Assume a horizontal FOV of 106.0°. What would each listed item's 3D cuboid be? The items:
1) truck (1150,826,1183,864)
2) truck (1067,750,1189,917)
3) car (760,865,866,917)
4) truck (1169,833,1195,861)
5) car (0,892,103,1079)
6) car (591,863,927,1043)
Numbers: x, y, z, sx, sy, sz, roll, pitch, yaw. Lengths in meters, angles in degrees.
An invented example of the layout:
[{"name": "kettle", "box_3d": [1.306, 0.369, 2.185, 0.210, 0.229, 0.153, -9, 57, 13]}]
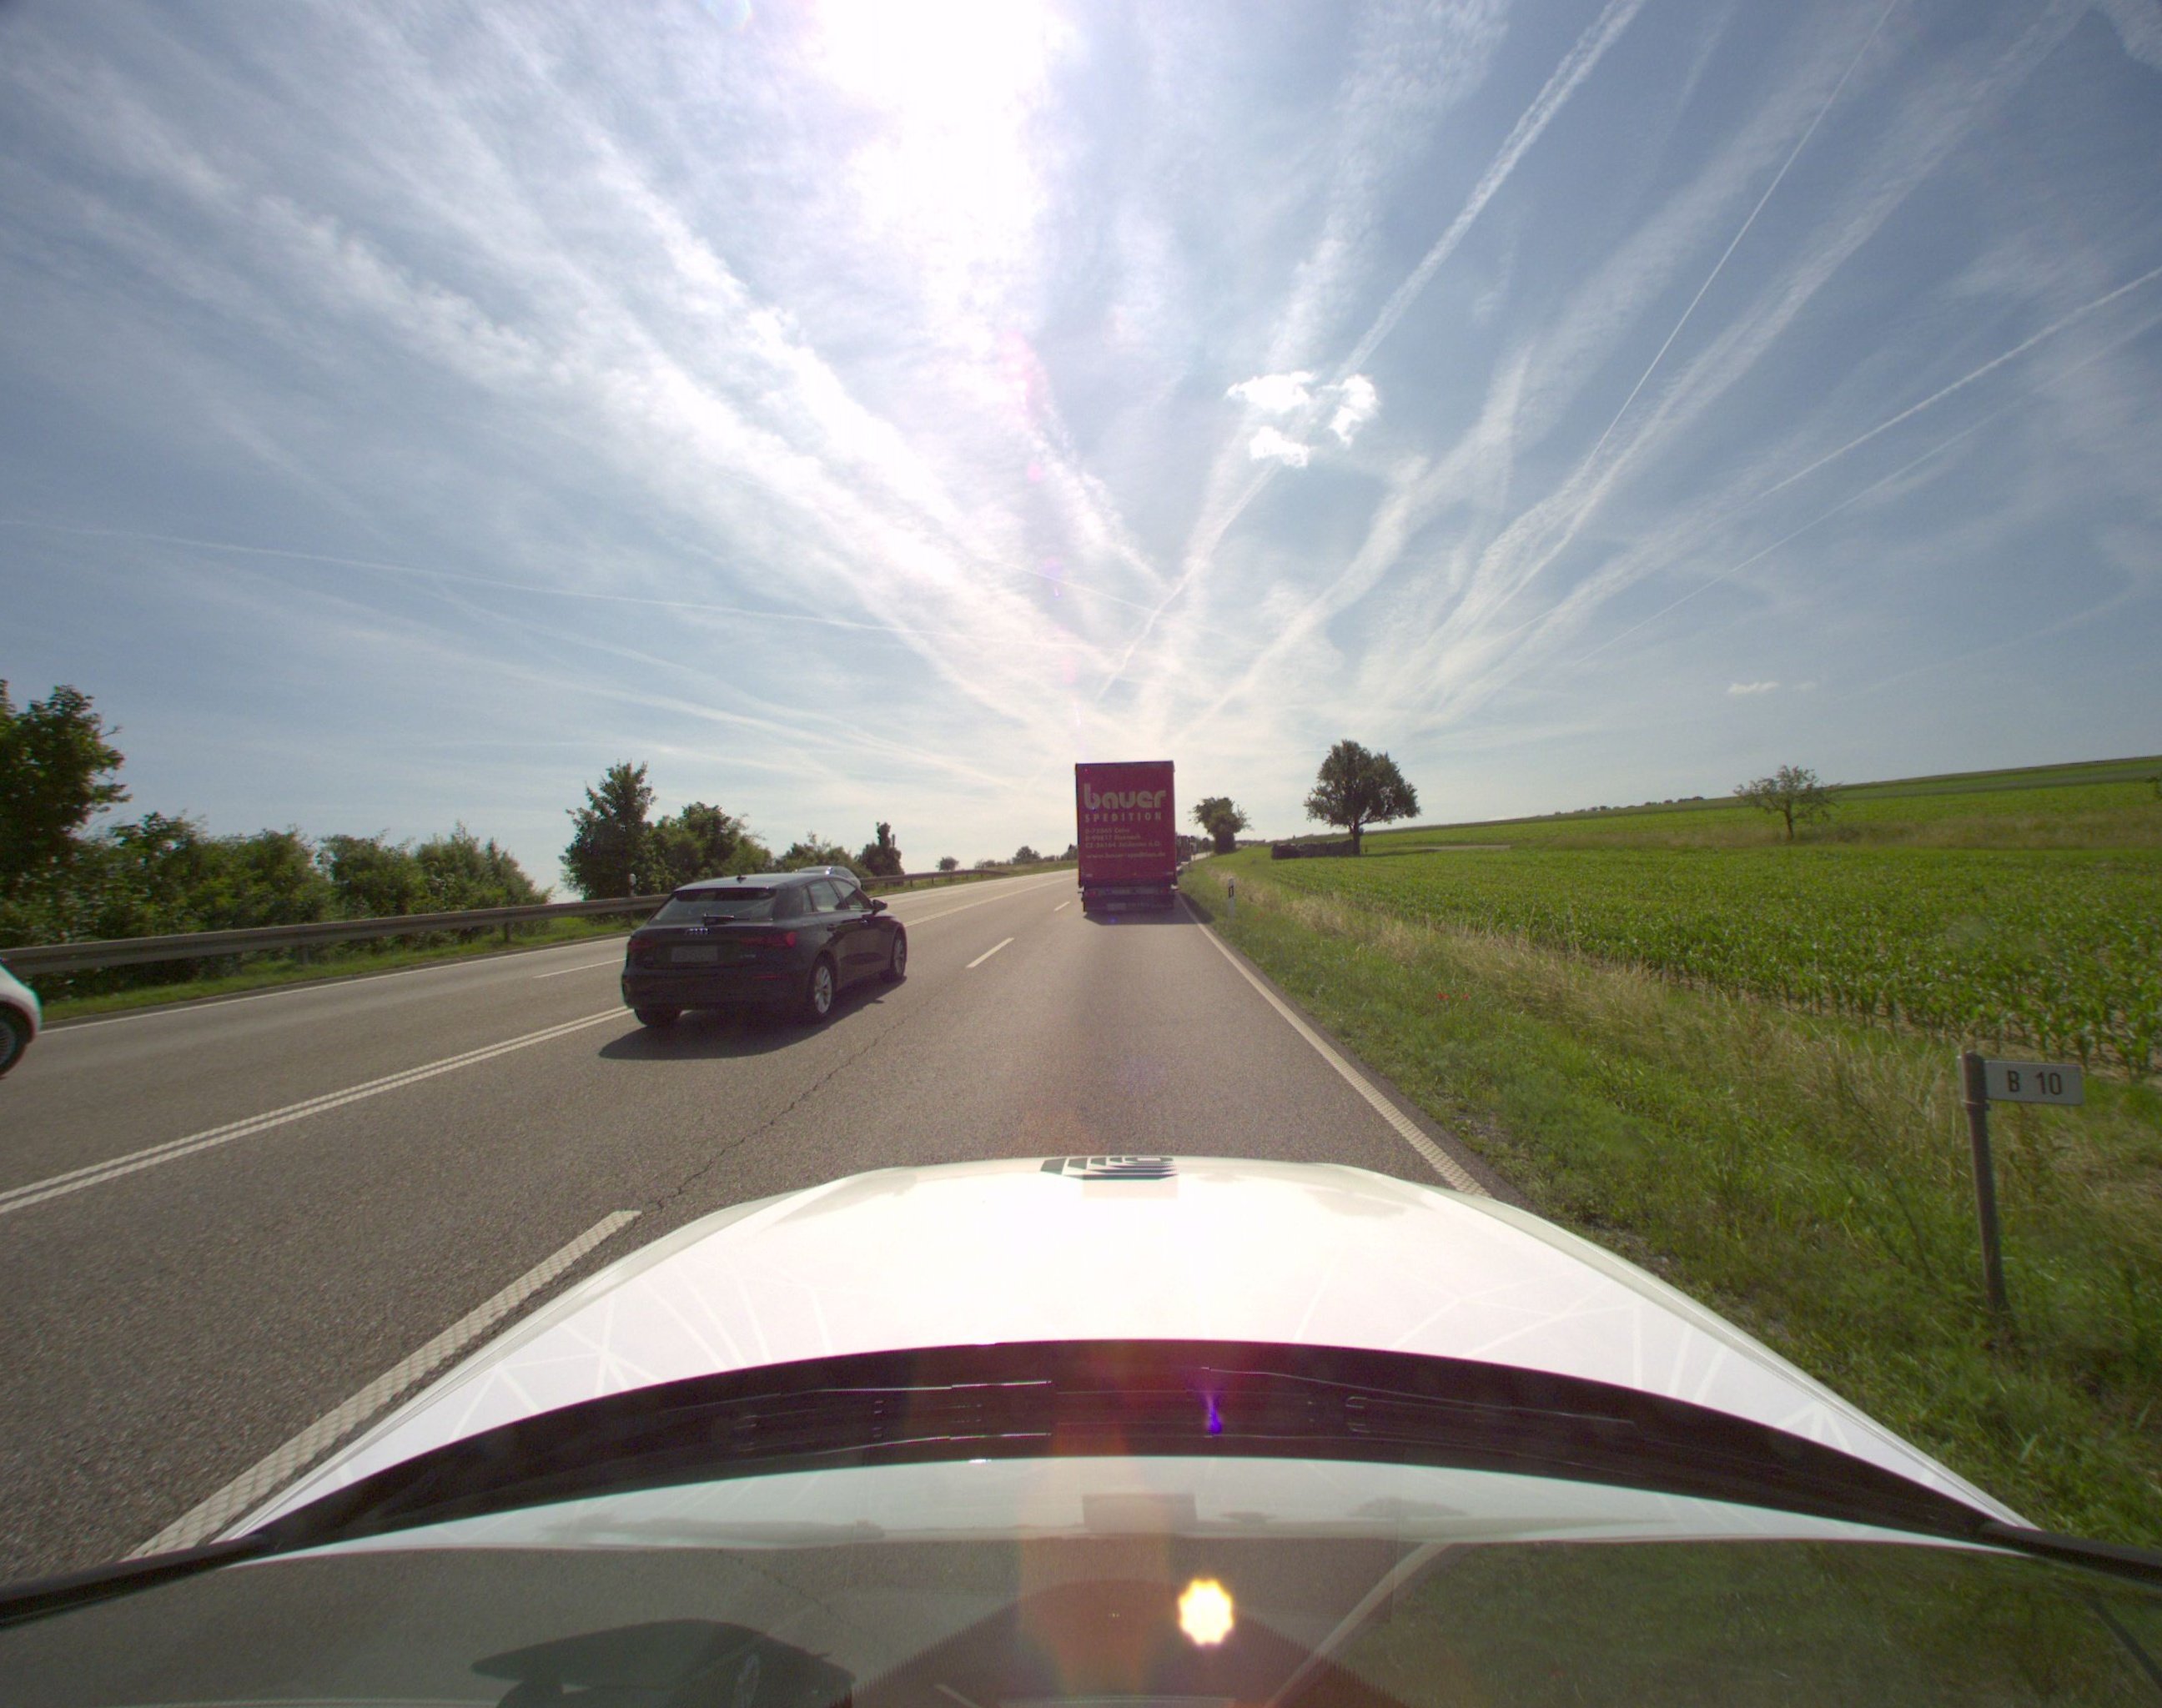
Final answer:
[{"name": "truck", "box_3d": [10.055, -1.012, 94.499, 3.029, 3.910, 15.652, -2, 0, 8]}, {"name": "truck", "box_3d": [1.632, -0.494, 28.990, 2.994, 4.180, 16.727, -1, 0, 3]}, {"name": "car", "box_3d": [-8.753, 1.175, 27.013, 1.829, 1.455, 4.329, -3, 0, 3]}, {"name": "truck", "box_3d": [16.038, -1.071, 127.837, 3.028, 3.910, 18.447, -2, 0, 10]}, {"name": "car", "box_3d": [-9.518, 1.085, 5.295, 1.650, 1.457, 3.738, -2, -1, 4]}, {"name": "car", "box_3d": [-3.201, 0.875, 9.340, 1.698, 1.472, 4.815, -2, -1, 3]}]
